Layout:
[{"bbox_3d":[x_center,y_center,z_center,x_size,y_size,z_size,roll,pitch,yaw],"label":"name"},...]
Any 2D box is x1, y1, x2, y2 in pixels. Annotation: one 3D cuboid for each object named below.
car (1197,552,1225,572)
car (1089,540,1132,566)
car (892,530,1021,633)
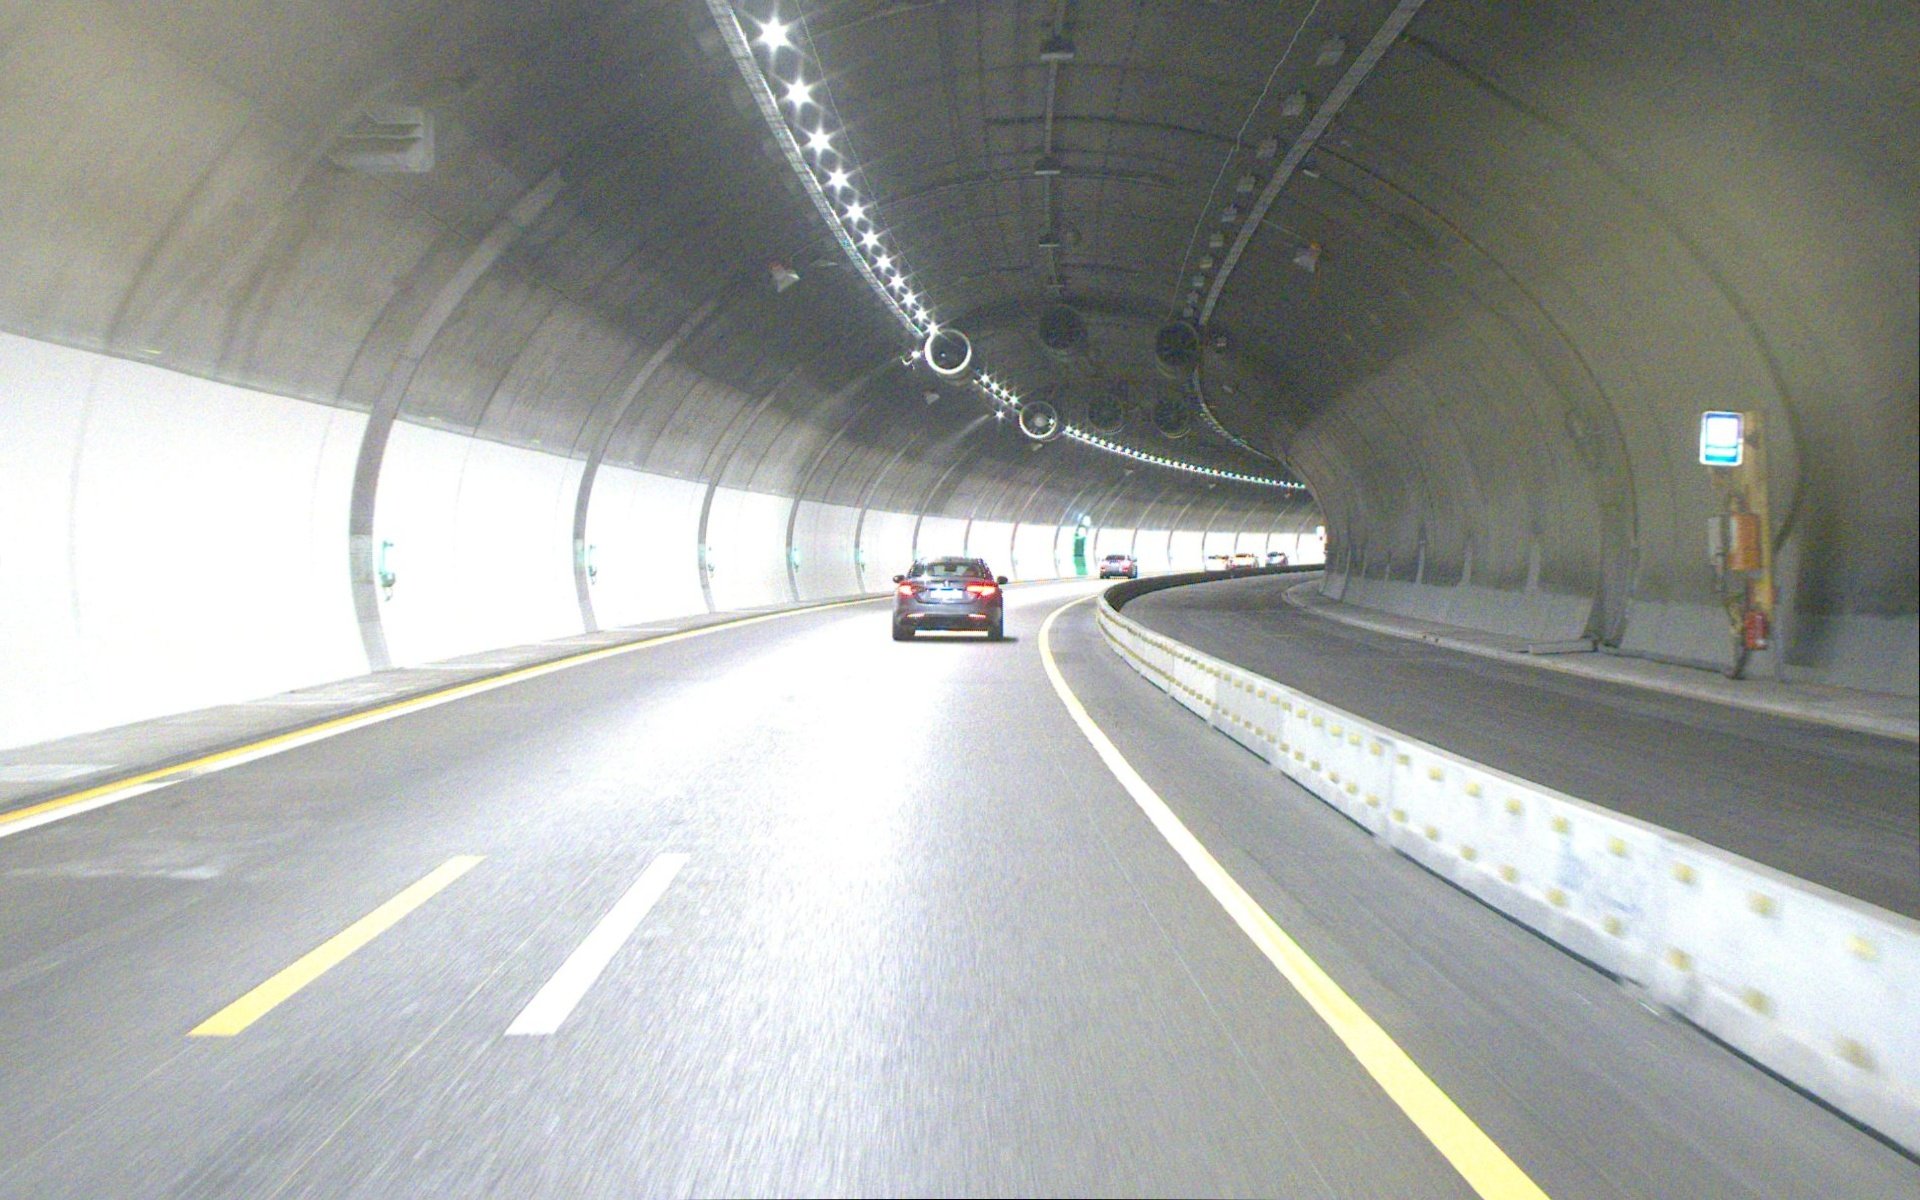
[{"bbox_3d":[17.104,-2.604,234.288,1.595,1.328,3.749,1,1,8],"label":"car"},{"bbox_3d":[8.759,-2.717,200.035,2.165,1.481,3.999,0,1,8],"label":"car"},{"bbox_3d":[-0.073,-0.343,59.133,2.141,1.700,4.000,0,1,0],"label":"car"}]
